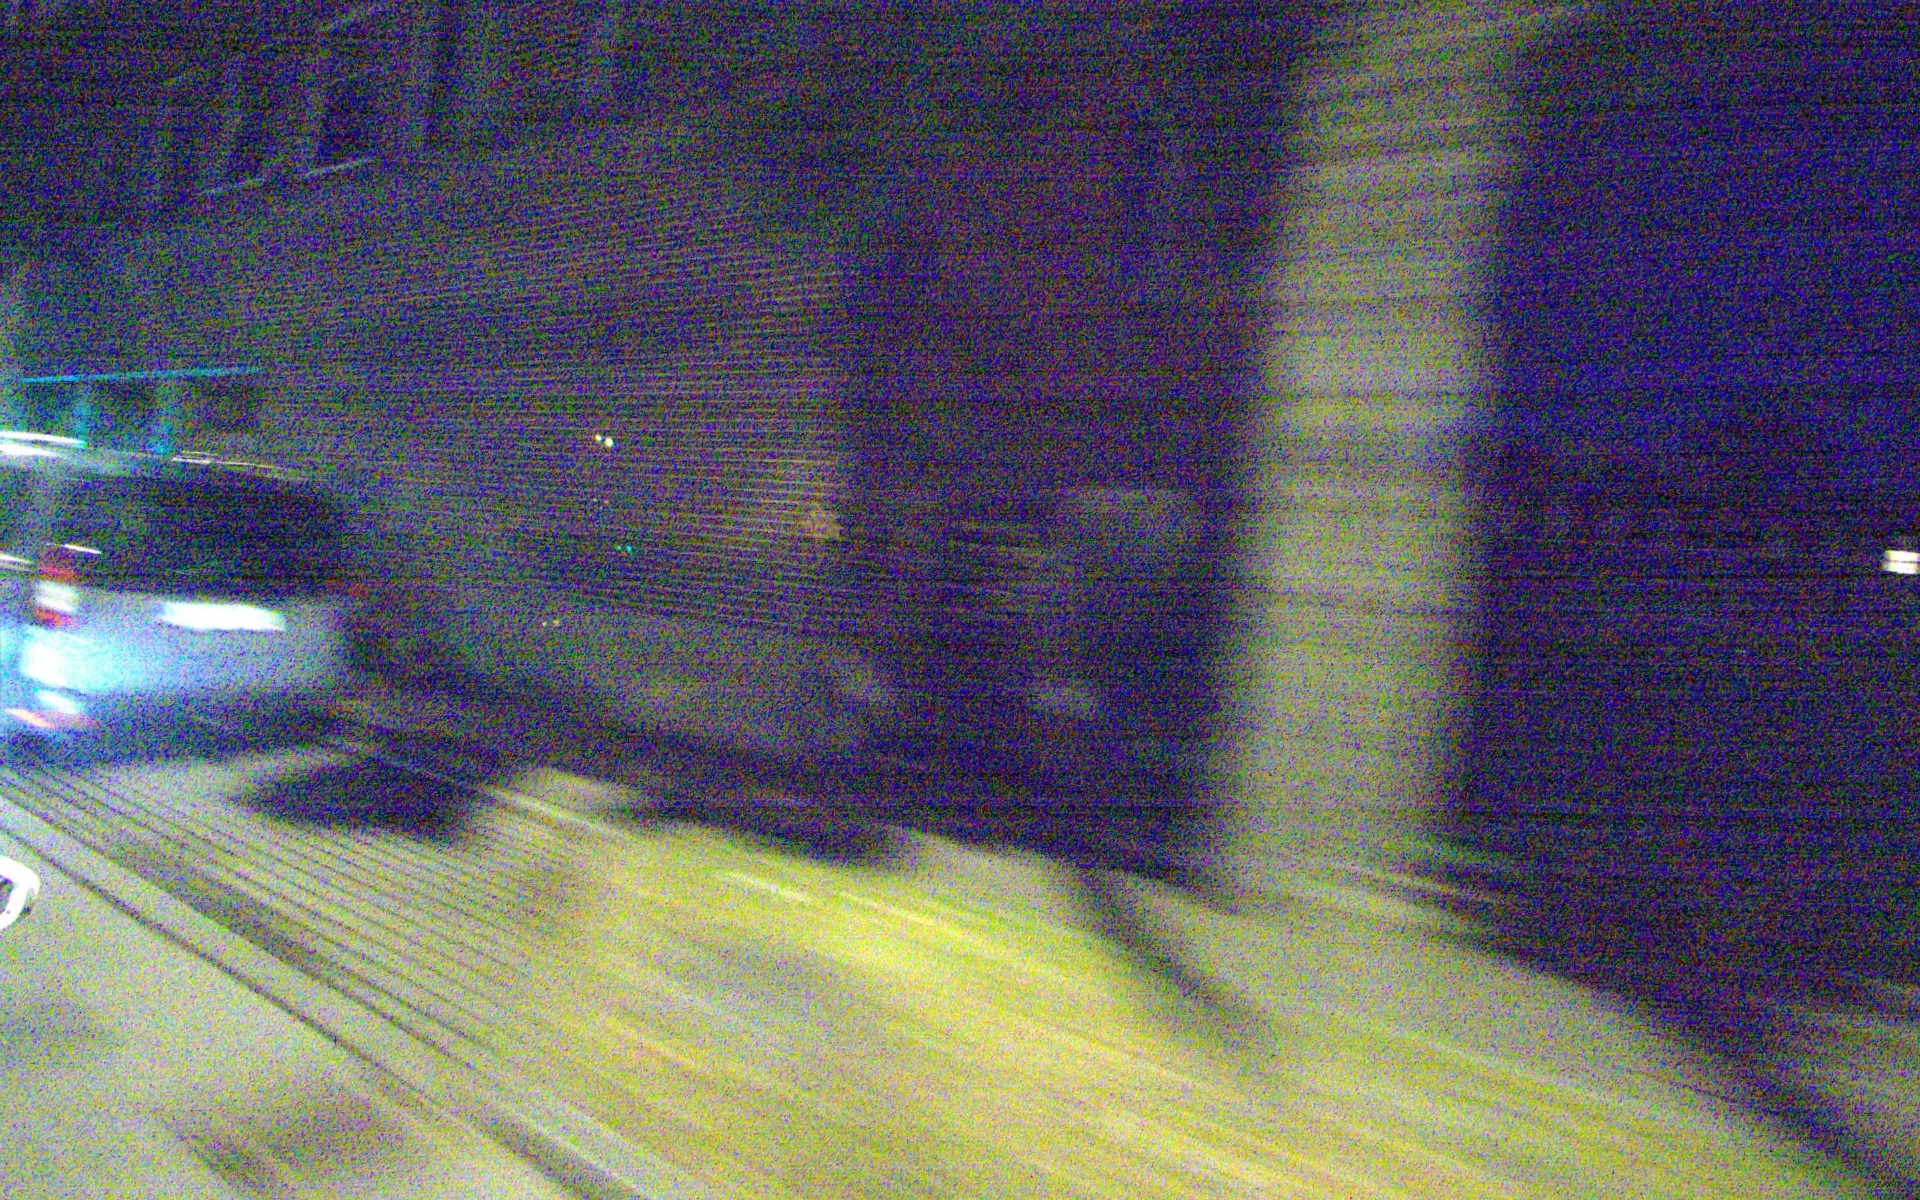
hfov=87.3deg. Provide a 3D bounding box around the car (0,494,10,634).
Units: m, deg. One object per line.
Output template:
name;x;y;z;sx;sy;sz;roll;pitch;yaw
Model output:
car;-10.770;-0.490;9.607;3.919;1.414;1.521;7;2;33

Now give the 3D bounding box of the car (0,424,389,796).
car;-6.006;-0.132;6.746;4.204;1.830;1.773;7;2;29
